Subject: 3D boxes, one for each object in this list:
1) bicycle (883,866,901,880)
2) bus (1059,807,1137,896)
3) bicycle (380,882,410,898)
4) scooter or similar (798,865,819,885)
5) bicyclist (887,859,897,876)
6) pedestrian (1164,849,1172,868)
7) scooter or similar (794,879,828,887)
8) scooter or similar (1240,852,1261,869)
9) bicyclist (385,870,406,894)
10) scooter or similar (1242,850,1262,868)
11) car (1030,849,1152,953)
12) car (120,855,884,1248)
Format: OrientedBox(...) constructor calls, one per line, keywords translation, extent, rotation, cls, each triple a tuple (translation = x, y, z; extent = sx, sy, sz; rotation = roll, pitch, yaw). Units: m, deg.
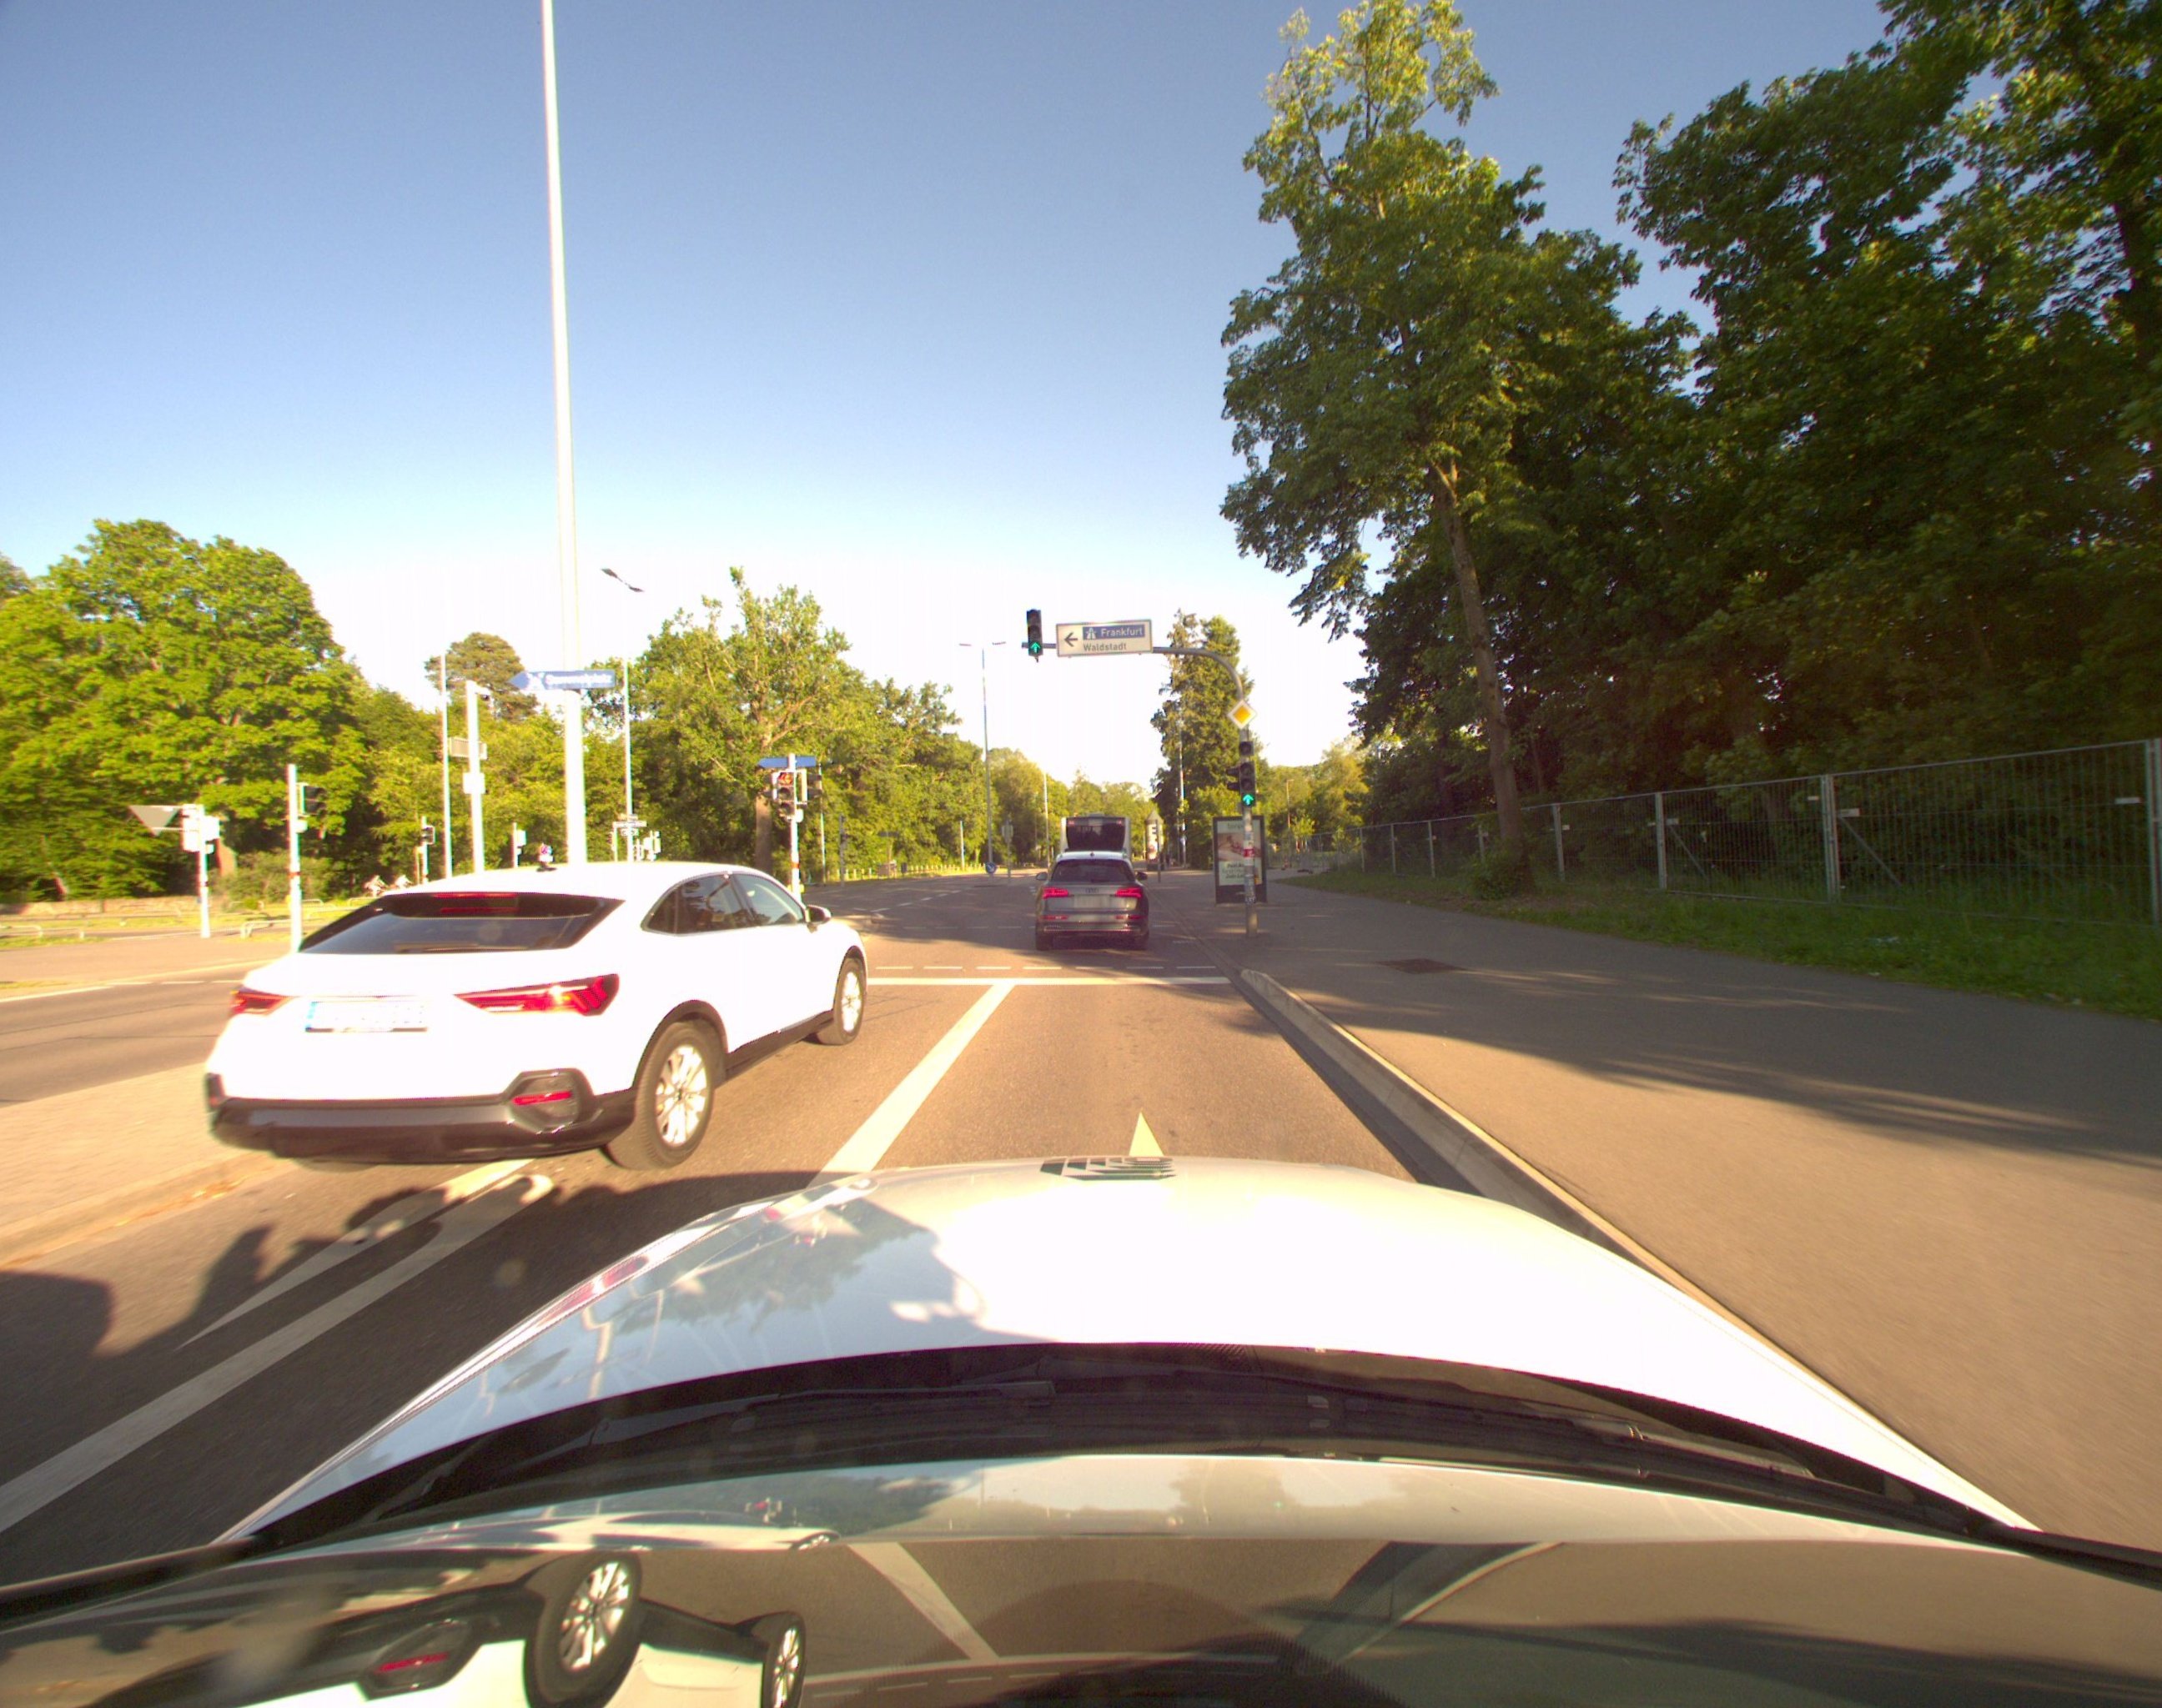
OrientedBox(translation=(-17.686, 1.770, 76.229), extent=(0.674, 1.154, 1.995), rotation=(-1, 2, 20), cls="bicycle")
OrientedBox(translation=(0.757, -0.056, 34.159), extent=(2.679, 3.042, 12.045), rotation=(0, 0, 2), cls="bus")
OrientedBox(translation=(-42.801, 2.221, 50.823), extent=(1.571, 0.977, 0.789), rotation=(-1, -1, 23), cls="bicycle")
OrientedBox(translation=(-16.013, 1.233, 47.809), extent=(1.060, 1.146, 0.395), rotation=(-2, 0, 9), cls="scooter or similar")
OrientedBox(translation=(-17.684, 1.275, 76.258), extent=(0.557, 1.551, 0.804), rotation=(-1, 2, 19), cls="bicyclist")
OrientedBox(translation=(8.064, 0.406, 75.713), extent=(0.622, 1.688, 0.885), rotation=(-1, -1, 11), cls="pedestrian")
OrientedBox(translation=(-15.336, 1.632, 46.302), extent=(1.399, 0.339, 1.263), rotation=(-2, 1, 10), cls="scooter or similar")
OrientedBox(translation=(12.238, 0.459, 58.823), extent=(1.424, 1.167, 0.396), rotation=(-4, -2, 31), cls="scooter or similar")
OrientedBox(translation=(-42.783, 1.746, 50.824), extent=(0.790, 1.483, 0.734), rotation=(-1, -1, 23), cls="bicyclist")
OrientedBox(translation=(11.621, 0.359, 55.308), extent=(1.258, 1.147, 0.395), rotation=(-4, -2, 9), cls="scooter or similar")
OrientedBox(translation=(0.227, 0.731, 14.938), extent=(1.886, 1.605, 4.546), rotation=(0, 0, 2), cls="car")
OrientedBox(translation=(-2.799, 0.778, 5.345), extent=(1.827, 1.513, 4.302), rotation=(-1, 0, 2), cls="car")
